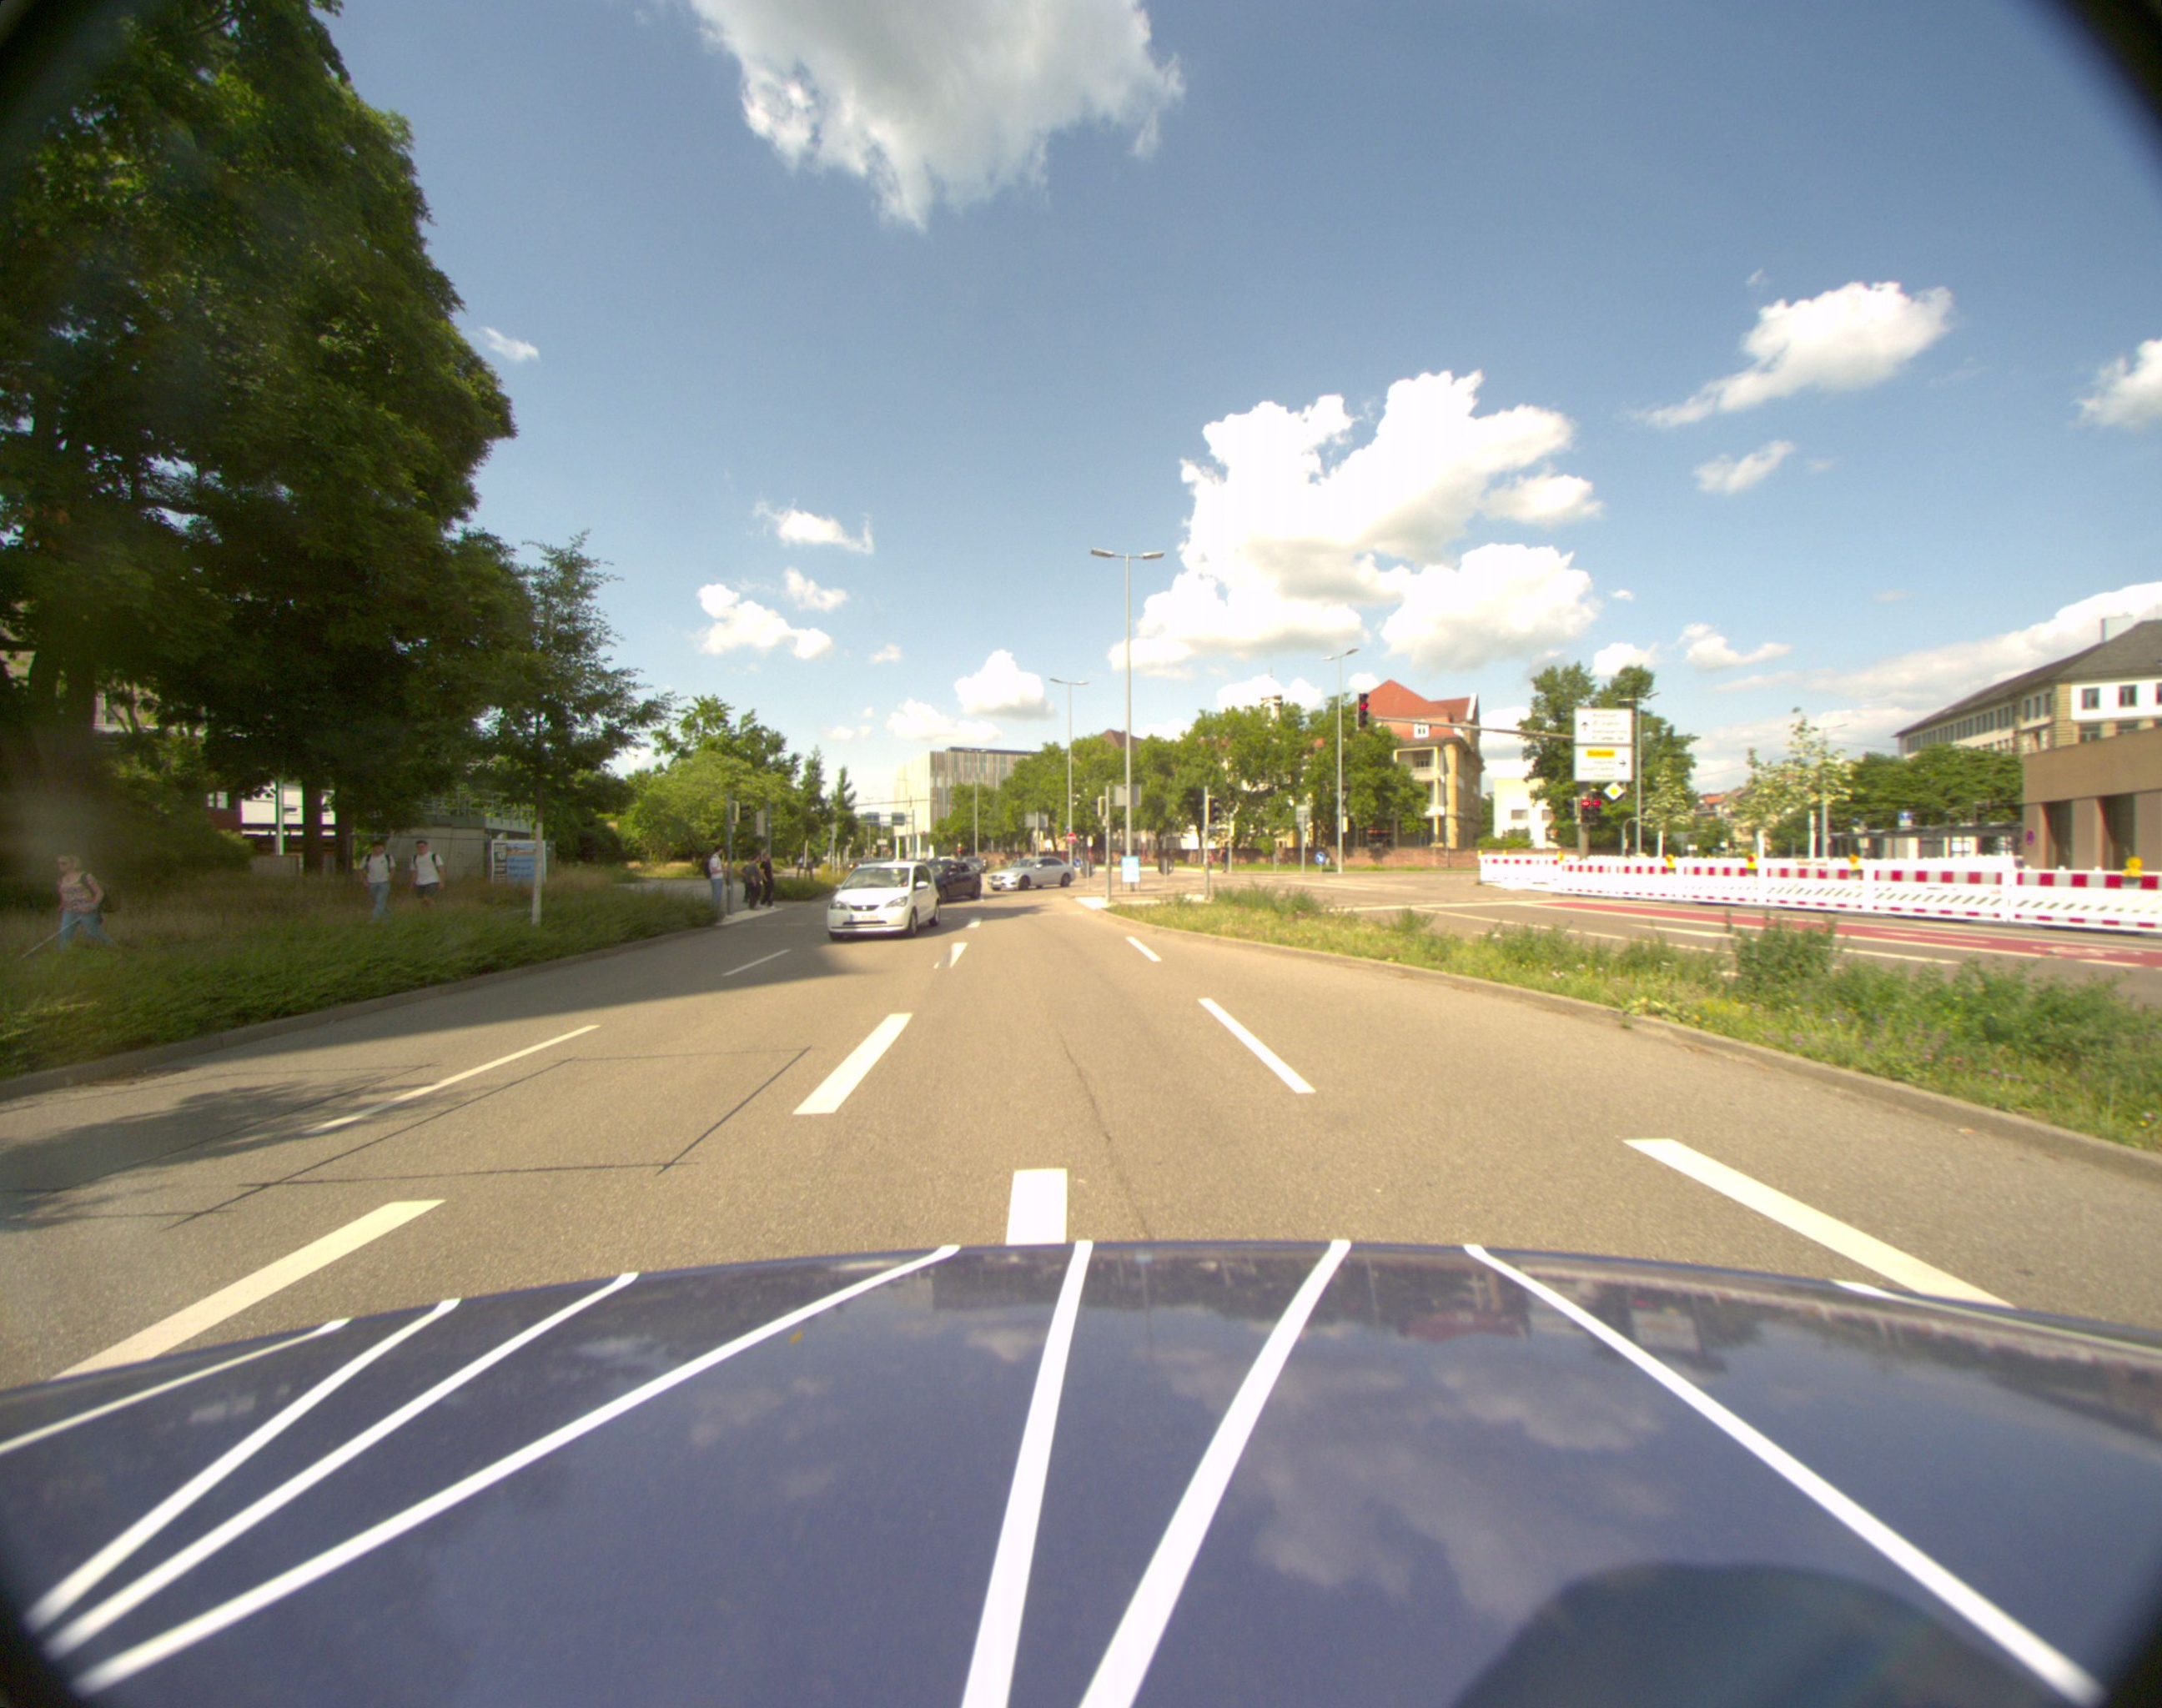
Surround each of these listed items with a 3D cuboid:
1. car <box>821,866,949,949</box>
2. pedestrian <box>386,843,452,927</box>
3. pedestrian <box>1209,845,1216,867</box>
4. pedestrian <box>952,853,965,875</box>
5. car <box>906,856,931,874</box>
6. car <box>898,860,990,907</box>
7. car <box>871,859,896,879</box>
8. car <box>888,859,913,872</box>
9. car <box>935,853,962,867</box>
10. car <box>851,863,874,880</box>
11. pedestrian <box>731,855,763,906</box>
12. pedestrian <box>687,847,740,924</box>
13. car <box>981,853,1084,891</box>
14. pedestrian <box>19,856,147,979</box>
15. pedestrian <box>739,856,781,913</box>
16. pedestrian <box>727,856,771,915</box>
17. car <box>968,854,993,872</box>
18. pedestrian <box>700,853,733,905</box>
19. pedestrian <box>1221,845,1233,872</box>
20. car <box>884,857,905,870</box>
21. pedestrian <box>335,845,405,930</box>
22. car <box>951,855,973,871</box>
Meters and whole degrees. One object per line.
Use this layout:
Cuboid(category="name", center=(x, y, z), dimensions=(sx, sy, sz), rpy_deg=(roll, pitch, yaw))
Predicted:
Cuboid(category="car", center=(-3.989, 1.034, 16.113), dimensions=(1.653, 1.413, 3.999), rpy_deg=(-1, 1, 0))
Cuboid(category="pedestrian", center=(-13.722, 0.623, 15.774), dimensions=(0.616, 1.690, 0.889), rpy_deg=(2, 1, -5))
Cuboid(category="pedestrian", center=(10.292, 0.127, 59.375), dimensions=(0.369, 1.722, 0.450), rpy_deg=(-2, 1, -4))
Cuboid(category="pedestrian", center=(-9.674, 0.767, 60.119), dimensions=(0.739, 1.704, 0.874), rpy_deg=(-3, 1, -22))
Cuboid(category="car", center=(-13.802, 0.920, 64.445), dimensions=(1.828, 1.454, 3.995), rpy_deg=(-1, 0, -15))
Cuboid(category="car", center=(-4.665, 0.969, 26.506), dimensions=(1.701, 1.364, 4.136), rpy_deg=(-2, 1, 11))
Cuboid(category="car", center=(-16.235, 1.208, 62.446), dimensions=(1.827, 1.454, 3.995), rpy_deg=(-1, 0, -13))
Cuboid(category="car", center=(-16.346, 1.053, 68.762), dimensions=(1.600, 1.127, 3.622), rpy_deg=(-1, 0, -23))
Cuboid(category="car", center=(-13.788, 0.635, 78.979), dimensions=(1.781, 1.346, 3.992), rpy_deg=(-2, 1, -23))
Cuboid(category="car", center=(-19.754, 1.563, 68.794), dimensions=(1.827, 1.454, 3.995), rpy_deg=(-1, 0, -13))
Cuboid(category="pedestrian", center=(-11.593, 0.901, 26.359), dimensions=(0.768, 1.725, 0.718), rpy_deg=(-2, 1, -8))
Cuboid(category="pedestrian", center=(-9.939, 0.837, 20.572), dimensions=(0.965, 2.002, 0.768), rpy_deg=(-2, 1, -2))
Cuboid(category="car", center=(-2.106, 0.766, 34.242), dimensions=(1.931, 1.447, 4.768), rpy_deg=(0, 1, 38))
Cuboid(category="pedestrian", center=(-13.837, 0.856, 10.561), dimensions=(0.616, 1.613, 0.889), rpy_deg=(2, 1, -5))
Cuboid(category="pedestrian", center=(-10.102, 0.944, 23.935), dimensions=(0.928, 1.725, 0.768), rpy_deg=(-2, 1, -2))
Cuboid(category="pedestrian", center=(-10.095, 0.953, 23.157), dimensions=(0.928, 1.725, 0.768), rpy_deg=(-2, 1, -2))
Cuboid(category="car", center=(-8.651, 0.743, 65.132), dimensions=(2.000, 1.368, 4.265), rpy_deg=(-2, 1, -10))
Cuboid(category="pedestrian", center=(-12.609, 0.857, 26.283), dimensions=(0.768, 1.725, 0.718), rpy_deg=(-2, 1, -8))
Cuboid(category="pedestrian", center=(11.141, 0.345, 57.838), dimensions=(0.582, 1.982, 0.621), rpy_deg=(-3, 1, -27))
Cuboid(category="car", center=(-18.414, 0.926, 75.107), dimensions=(1.911, 1.127, 4.096), rpy_deg=(-1, 2, -13))
Cuboid(category="pedestrian", center=(-14.572, 0.661, 15.592), dimensions=(0.616, 1.690, 0.889), rpy_deg=(2, 1, -5))
Cuboid(category="car", center=(-11.272, 0.841, 71.960), dimensions=(1.734, 1.327, 3.784), rpy_deg=(-2, 1, -13))
